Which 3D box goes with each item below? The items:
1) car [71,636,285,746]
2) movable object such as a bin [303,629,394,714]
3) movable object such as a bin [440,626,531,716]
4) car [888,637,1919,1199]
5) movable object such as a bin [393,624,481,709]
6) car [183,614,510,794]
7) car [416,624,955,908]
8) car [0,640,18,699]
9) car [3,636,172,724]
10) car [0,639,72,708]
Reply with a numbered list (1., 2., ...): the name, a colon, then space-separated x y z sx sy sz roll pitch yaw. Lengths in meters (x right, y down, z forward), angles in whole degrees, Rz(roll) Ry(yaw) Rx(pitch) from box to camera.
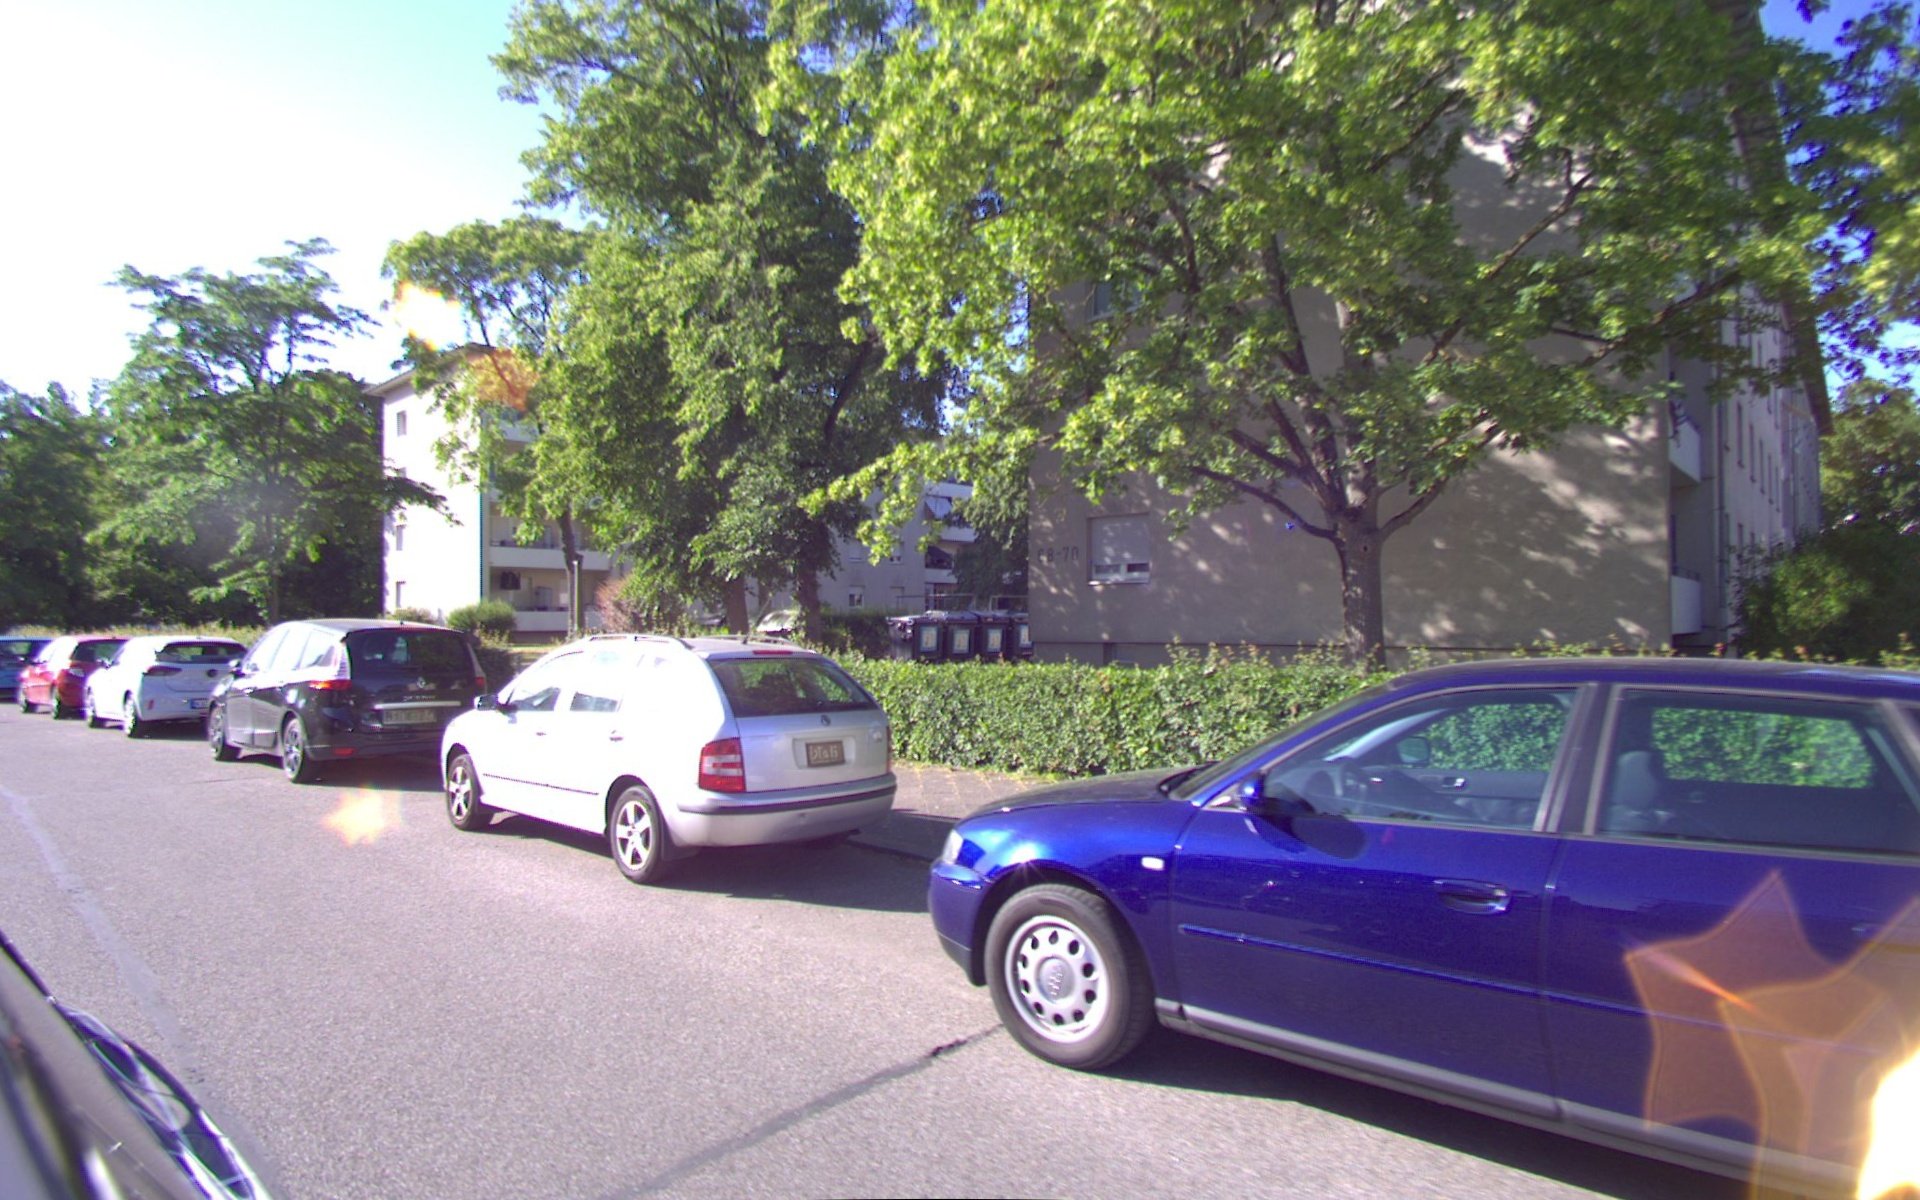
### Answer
1. car: -12.185 1.313 15.698 3.937 1.490 1.788 -2 -3 40
2. movable object such as a bin: -11.192 1.275 18.523 1.263 1.425 0.995 -2 1 38
3. movable object such as a bin: -8.152 1.189 17.379 1.263 1.425 0.886 -2 1 38
4. car: 1.849 0.821 3.152 4.166 1.396 1.622 -2 -3 39
5. movable object such as a bin: -9.538 1.182 18.450 1.188 1.425 0.967 -2 1 38
6. car: -6.932 1.019 11.249 4.429 1.618 1.788 -2 -3 40
7. car: -2.148 0.929 7.236 4.149 1.448 1.735 -2 -3 42
8. car: -26.019 1.775 26.199 3.727 1.490 1.639 -1 -3 35
9. car: -16.401 1.429 18.977 3.874 1.490 1.615 -2 -3 38
10. car: -21.905 1.649 23.273 3.101 1.490 1.638 -2 -3 38
